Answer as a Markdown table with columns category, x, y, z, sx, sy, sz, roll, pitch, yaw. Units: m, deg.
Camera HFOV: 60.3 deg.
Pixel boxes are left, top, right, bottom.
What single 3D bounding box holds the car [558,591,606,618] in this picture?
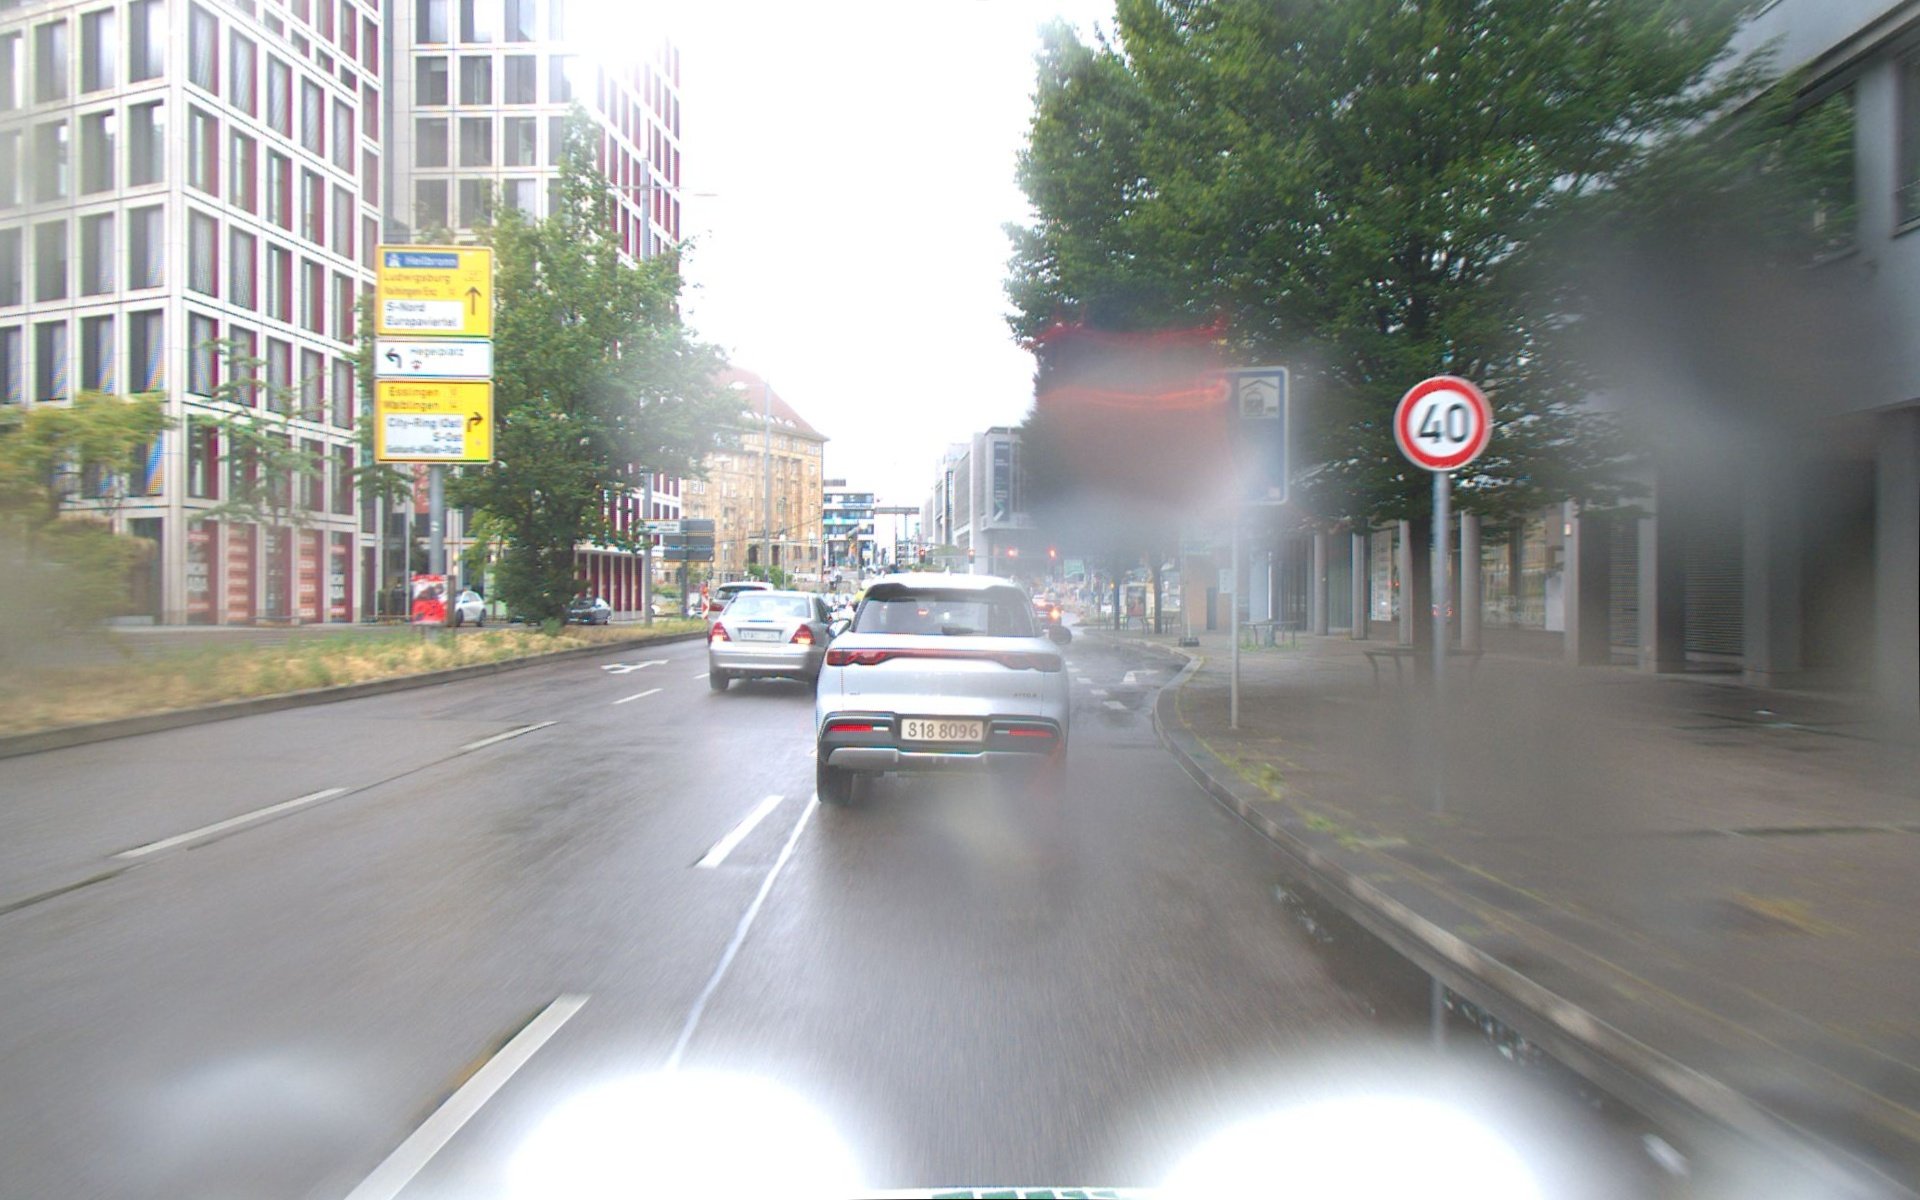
| category | x | y | z | sx | sy | sz | roll | pitch | yaw |
| --- | --- | --- | --- | --- | --- | --- | --- | --- | --- |
| car | -21.348 | 0.264 | 93.443 | 1.662 | 1.449 | 3.956 | -1 | -1 | 2 |

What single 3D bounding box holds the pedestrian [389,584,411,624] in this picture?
| category | x | y | z | sx | sy | sz | roll | pitch | yaw |
| --- | --- | --- | --- | --- | --- | --- | --- | --- | --- |
| pedestrian | -24.977 | 0.172 | 73.739 | 0.600 | 1.765 | 0.967 | 1 | -1 | -1 |

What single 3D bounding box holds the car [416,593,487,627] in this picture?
| category | x | y | z | sx | sy | sz | roll | pitch | yaw |
| --- | --- | --- | --- | --- | --- | --- | --- | --- | --- |
| car | -22.340 | 0.448 | 72.803 | 1.662 | 1.449 | 4.375 | -1 | -1 | 2 |

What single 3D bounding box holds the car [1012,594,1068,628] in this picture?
| category | x | y | z | sx | sy | sz | roll | pitch | yaw |
| --- | --- | --- | --- | --- | --- | --- | --- | --- | --- |
| car | 4.026 | 0.556 | 82.445 | 1.851 | 1.571 | 3.995 | 1 | -1 | 17 |

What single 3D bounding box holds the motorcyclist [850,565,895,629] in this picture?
| category | x | y | z | sx | sy | sz | roll | pitch | yaw |
| --- | --- | --- | --- | --- | --- | --- | --- | --- | --- |
| motorcyclist | -2.133 | -0.066 | 40.426 | 0.922 | 1.501 | 1.101 | 1 | -1 | 3 |

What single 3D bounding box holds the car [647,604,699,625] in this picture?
| category | x | y | z | sx | sy | sz | roll | pitch | yaw |
| --- | --- | --- | --- | --- | --- | --- | --- | --- | --- |
| car | -24.901 | 1.244 | 143.561 | 4.307 | 1.691 | 1.993 | 2 | -1 | -14 |

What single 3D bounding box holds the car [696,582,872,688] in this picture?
| category | x | y | z | sx | sy | sz | roll | pitch | yaw |
| --- | --- | --- | --- | --- | --- | --- | --- | --- | --- |
| car | -2.556 | 0.525 | 25.063 | 1.696 | 1.428 | 4.386 | 1 | -1 | 6 |

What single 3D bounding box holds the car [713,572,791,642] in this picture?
| category | x | y | z | sx | sy | sz | roll | pitch | yaw |
| --- | --- | --- | --- | --- | --- | --- | --- | --- | --- |
| car | -5.270 | 0.206 | 42.305 | 1.698 | 1.644 | 3.996 | 2 | -1 | -4 |

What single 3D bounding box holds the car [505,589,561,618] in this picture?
| category | x | y | z | sx | sy | sz | roll | pitch | yaw |
| --- | --- | --- | --- | --- | --- | --- | --- | --- | --- |
| car | -21.776 | 0.198 | 84.476 | 1.662 | 1.449 | 3.956 | -1 | -1 | 2 |

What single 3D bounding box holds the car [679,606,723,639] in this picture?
| category | x | y | z | sx | sy | sz | roll | pitch | yaw |
| --- | --- | --- | --- | --- | --- | --- | --- | --- | --- |
| car | -13.843 | 1.225 | 88.696 | 1.789 | 1.661 | 4.871 | 2 | -1 | -3 |

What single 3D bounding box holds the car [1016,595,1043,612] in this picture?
| category | x | y | z | sx | sy | sz | roll | pitch | yaw |
| --- | --- | --- | --- | --- | --- | --- | --- | --- | --- |
| car | 8.164 | 0.404 | 195.368 | 1.962 | 1.848 | 3.980 | 2 | -1 | -18 |

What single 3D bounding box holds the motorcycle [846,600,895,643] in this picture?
| category | x | y | z | sx | sy | sz | roll | pitch | yaw |
| --- | --- | --- | --- | --- | --- | --- | --- | --- | --- |
| motorcycle | -2.161 | 0.515 | 40.362 | 0.922 | 1.006 | 2.295 | 1 | -1 | 4 |

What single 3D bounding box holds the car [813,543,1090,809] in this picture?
| category | x | y | z | sx | sy | sz | roll | pitch | yaw |
| --- | --- | --- | --- | --- | --- | --- | --- | --- | --- |
| car | -0.065 | 0.533 | 12.903 | 1.771 | 1.690 | 4.170 | 1 | -1 | 0 |

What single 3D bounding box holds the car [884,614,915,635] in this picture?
| category | x | y | z | sx | sy | sz | roll | pitch | yaw |
| --- | --- | --- | --- | --- | --- | --- | --- | --- | --- |
| car | -4.143 | 1.673 | 113.234 | 1.746 | 1.397 | 3.994 | 1 | -1 | 3 |
